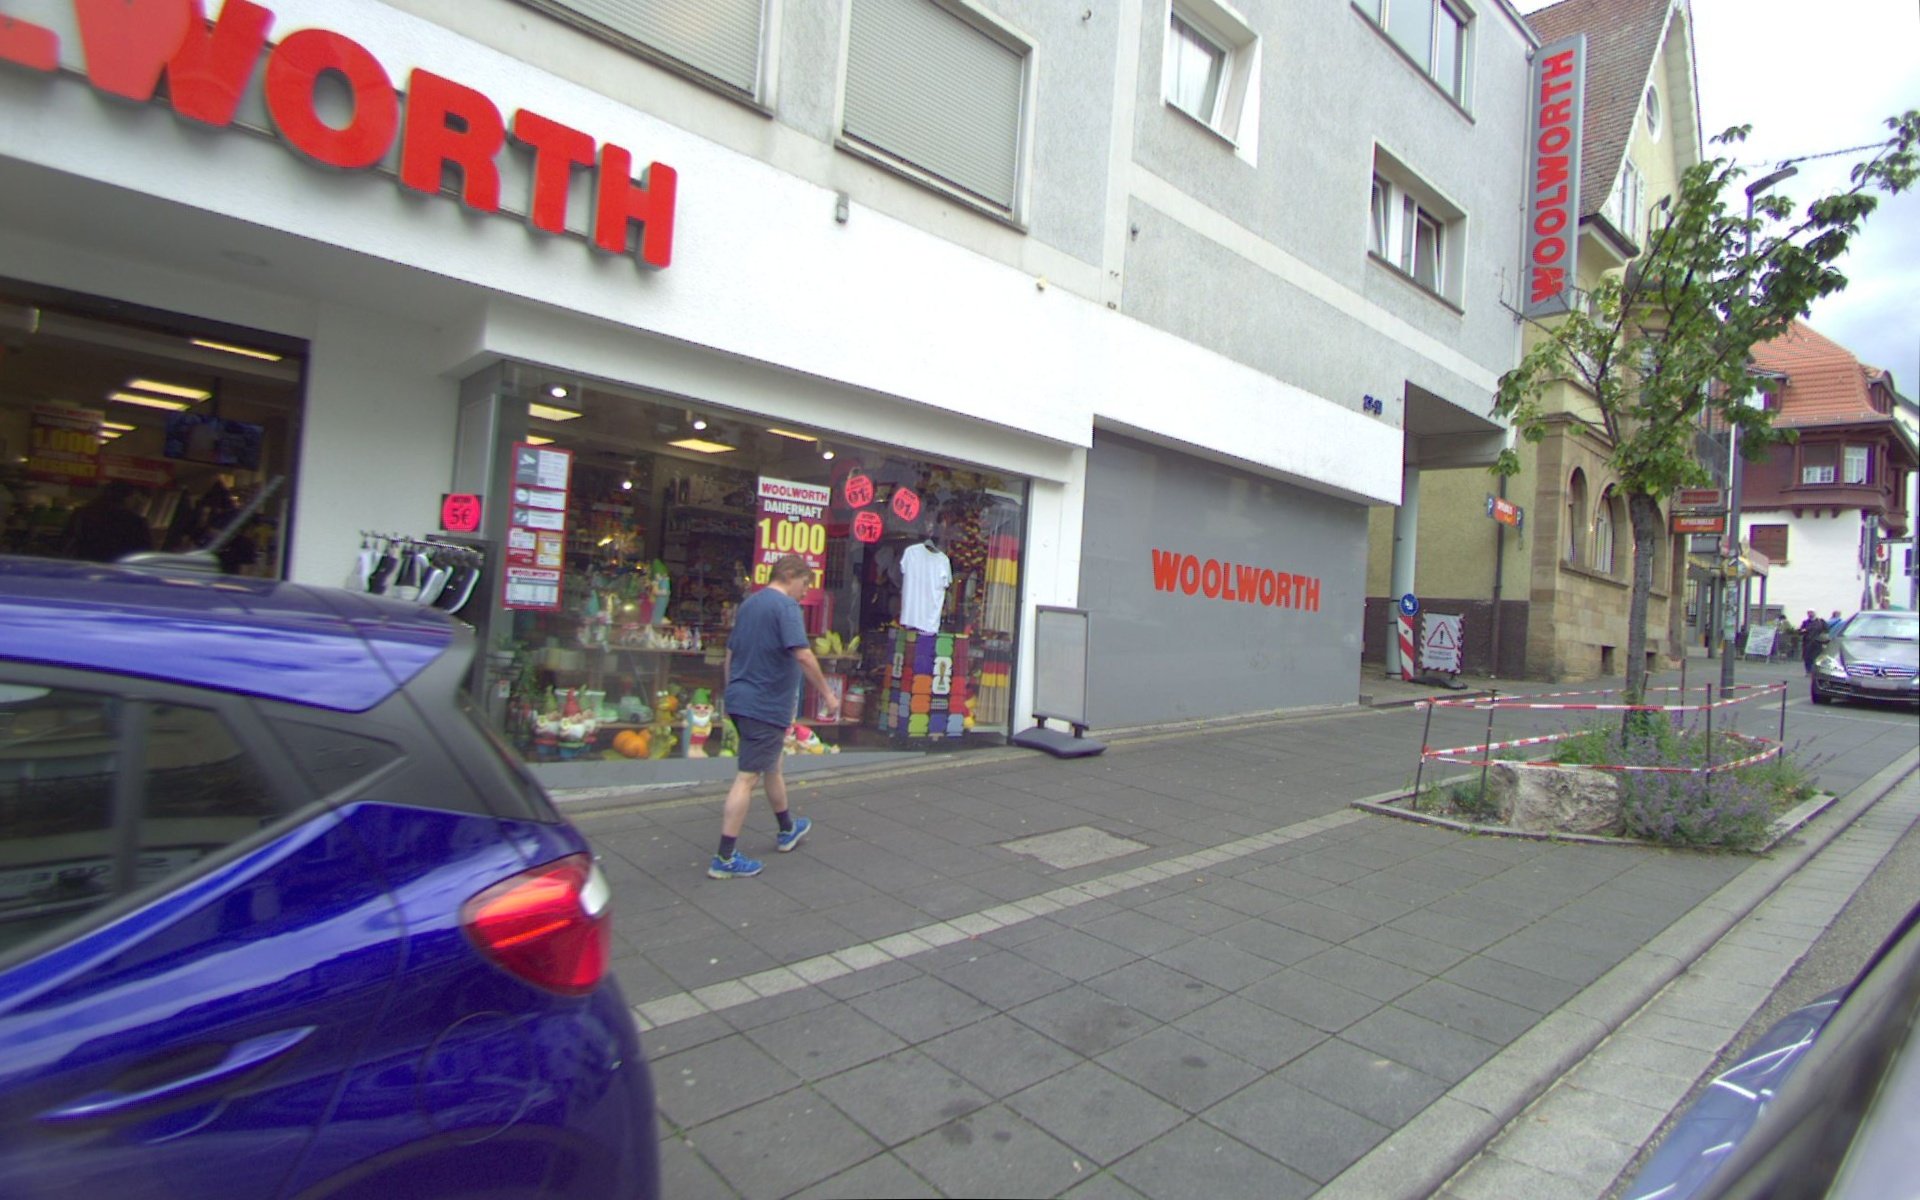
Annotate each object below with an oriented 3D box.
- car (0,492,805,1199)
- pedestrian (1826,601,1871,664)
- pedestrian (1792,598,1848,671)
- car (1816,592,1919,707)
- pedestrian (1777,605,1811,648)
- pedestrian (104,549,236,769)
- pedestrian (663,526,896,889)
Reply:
[{"bbox_3d":[-2.197,0.605,0.974,1.749,1.515,3.740,5,4,44],"label":"car"},{"bbox_3d":[25.414,0.919,28.934,1.034,1.748,0.798,1,1,-41],"label":"pedestrian"},{"bbox_3d":[20.556,0.821,24.190,0.786,1.687,0.827,2,0,-35],"label":"pedestrian"},{"bbox_3d":[15.333,0.774,16.184,3.730,1.627,1.753,1,2,-38],"label":"car"},{"bbox_3d":[32.983,1.047,40.009,0.853,1.665,0.775,2,1,-35],"label":"pedestrian"},{"bbox_3d":[-4.909,0.337,6.290,0.504,1.281,0.578,2,1,44],"label":"pedestrian"},{"bbox_3d":[-0.887,0.460,4.965,0.804,1.580,0.757,1,1,-44],"label":"pedestrian"}]
